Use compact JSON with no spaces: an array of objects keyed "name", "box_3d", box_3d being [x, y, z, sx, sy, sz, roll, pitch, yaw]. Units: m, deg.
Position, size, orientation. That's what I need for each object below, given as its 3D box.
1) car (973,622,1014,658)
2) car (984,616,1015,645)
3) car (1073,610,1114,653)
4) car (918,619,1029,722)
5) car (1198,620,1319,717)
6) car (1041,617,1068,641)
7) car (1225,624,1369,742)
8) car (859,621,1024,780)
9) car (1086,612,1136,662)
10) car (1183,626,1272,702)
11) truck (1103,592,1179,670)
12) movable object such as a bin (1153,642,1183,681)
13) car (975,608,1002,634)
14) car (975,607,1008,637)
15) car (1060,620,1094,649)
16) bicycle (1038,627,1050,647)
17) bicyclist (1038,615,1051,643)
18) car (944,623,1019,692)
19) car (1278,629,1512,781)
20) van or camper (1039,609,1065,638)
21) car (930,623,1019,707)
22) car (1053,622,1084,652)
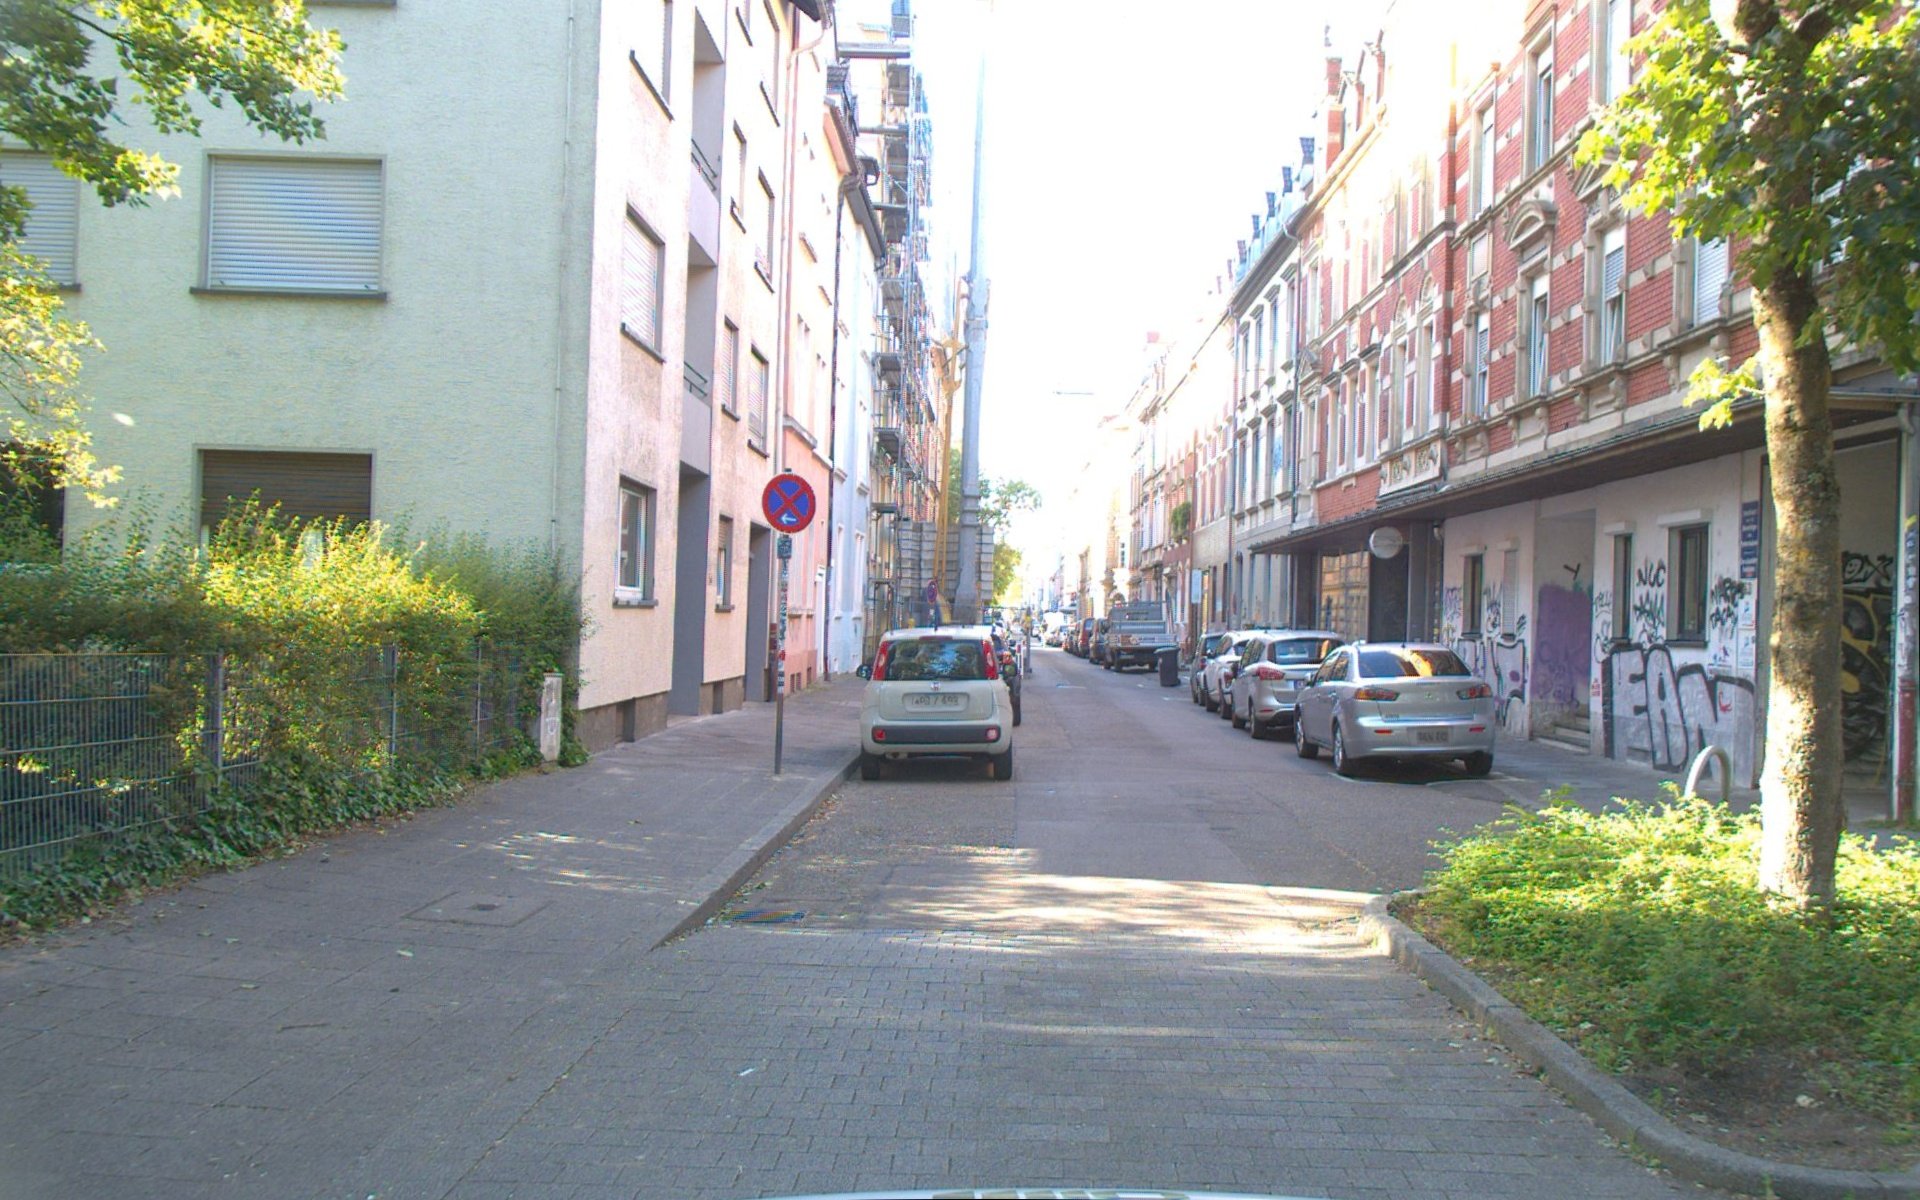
[{"name":"car","box_3d":[1.430,1.711,71.469,1.641,1.471,3.868,1,-1,-1]},{"name":"car","box_3d":[2.277,1.737,95.645,1.641,1.599,3.868,1,-1,-1]},{"name":"car","box_3d":[6.624,1.575,82.200,1.641,2.067,3.868,1,-1,-1]},{"name":"car","box_3d":[0.175,1.111,27.463,1.694,1.567,4.376,0,-1,-1]},{"name":"car","box_3d":[5.700,1.277,31.992,1.710,1.705,4.341,1,-1,2]},{"name":"car","box_3d":[7.646,2.323,134.073,1.952,1.881,4.000,1,-1,0]},{"name":"car","box_3d":[5.276,1.254,26.310,1.606,1.685,3.870,2,-1,2]},{"name":"car","box_3d":[-0.204,1.038,18.501,1.641,1.567,3.868,1,-1,-1]},{"name":"car","box_3d":[6.335,1.542,69.707,1.641,1.997,4.108,1,-1,-1]},{"name":"car","box_3d":[5.968,1.393,37.173,1.563,1.588,3.815,1,-1,3]},{"name":"truck","box_3d":[6.420,1.084,59.205,2.145,2.653,5.234,1,-1,0]},{"name":"movable object such as a bin","box_3d":[5.903,1.752,46.940,0.778,1.074,0.660,1,-1,1]},{"name":"car","box_3d":[2.157,1.567,124.816,1.952,1.881,4.000,1,-1,0]},{"name":"car","box_3d":[1.696,1.204,90.473,1.641,1.599,3.868,1,-1,-1]},{"name":"car","box_3d":[6.719,1.967,95.387,1.641,1.599,3.868,1,-1,-1]},{"name":"bicycle","box_3d":[5.373,2.341,105.810,0.709,1.207,2.043,2,0,2]},{"name":"bicyclist","box_3d":[5.398,1.842,105.857,0.715,1.792,0.835,2,0,2]},{"name":"car","box_3d":[0.533,1.310,38.983,1.640,1.503,4.608,1,-1,1]},{"name":"car","box_3d":[5.150,1.183,20.158,1.686,1.589,4.398,2,-1,0]},{"name":"van or camper","box_3d":[8.273,2.118,148.731,1.954,2.552,4.200,1,-1,-3]},{"name":"car","box_3d":[0.325,1.253,33.257,1.640,1.538,4.415,1,-1,1]},{"name":"car","box_3d":[7.875,2.658,120.097,1.953,2.049,4.000,1,-1,0]}]
